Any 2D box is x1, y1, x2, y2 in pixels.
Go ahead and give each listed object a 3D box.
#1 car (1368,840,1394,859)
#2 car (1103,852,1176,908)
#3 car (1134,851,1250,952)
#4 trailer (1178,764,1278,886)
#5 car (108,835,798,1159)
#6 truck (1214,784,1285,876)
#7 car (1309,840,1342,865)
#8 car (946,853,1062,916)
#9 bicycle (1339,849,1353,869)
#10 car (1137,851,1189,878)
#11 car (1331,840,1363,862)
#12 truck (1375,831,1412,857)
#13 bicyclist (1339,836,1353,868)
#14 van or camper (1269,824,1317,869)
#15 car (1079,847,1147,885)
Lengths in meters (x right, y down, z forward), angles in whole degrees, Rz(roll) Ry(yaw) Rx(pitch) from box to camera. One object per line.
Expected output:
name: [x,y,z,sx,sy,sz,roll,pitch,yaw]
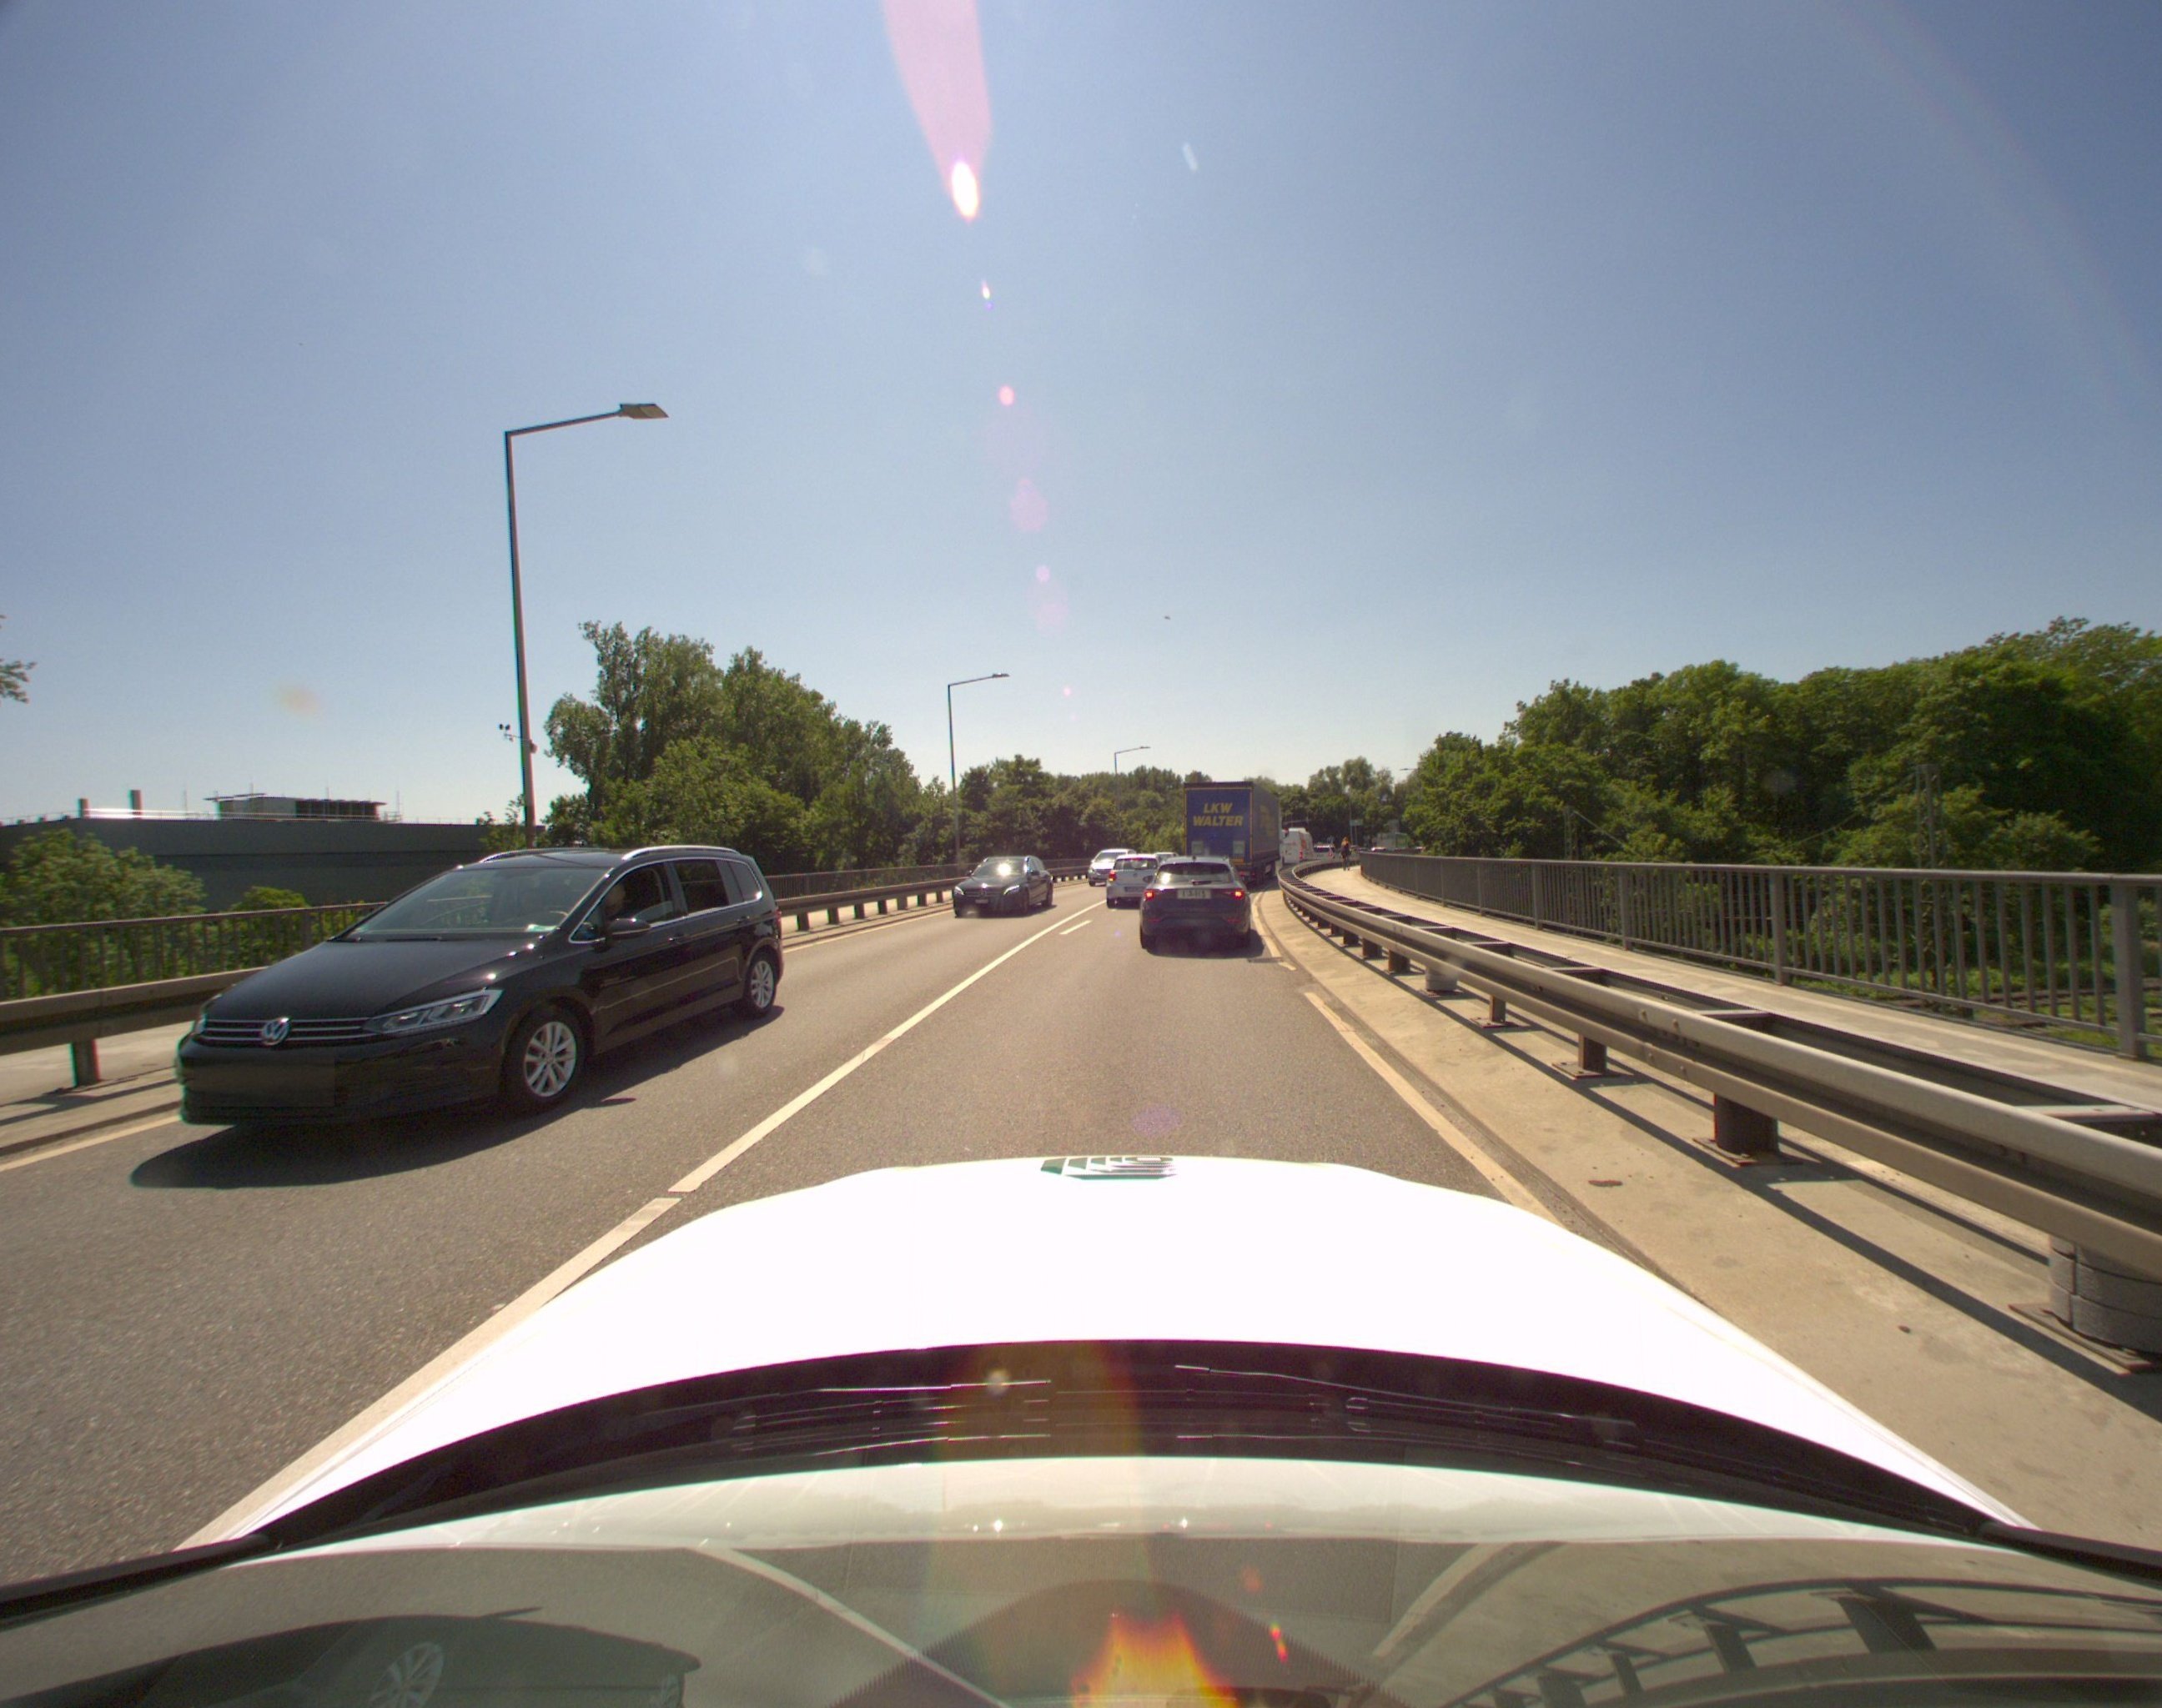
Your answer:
car: [30.253,-0.487,82.131,1.704,1.844,4.025,-1,1,32]
car: [1.774,0.685,23.563,1.666,1.411,3.987,0,1,10]
car: [1.938,0.692,13.893,1.667,1.456,3.969,-1,0,9]
trailer: [6.828,-1.116,35.912,2.882,4.418,12.489,0,1,17]
car: [-3.956,0.731,6.265,1.764,1.625,4.259,-1,0,4]
truck: [8.983,-1.200,42.863,2.881,4.418,6.586,0,0,18]
car: [18.632,-0.154,62.013,1.705,1.843,4.024,-1,1,27]
car: [-1.895,0.734,21.599,1.760,1.438,4.407,-1,0,12]
bicycle: [14.431,0.287,44.370,0.577,1.035,1.493,-4,-1,22]
car: [4.630,0.554,45.276,1.682,1.376,4.023,-1,0,24]
car: [22.547,-0.259,68.885,1.704,1.802,4.025,-1,1,31]
truck: [36.760,-1.196,95.669,2.312,2.873,5.979,-1,0,38]
bicyclist: [14.411,-0.120,44.293,0.573,1.683,0.733,-4,-1,22]
van or camper: [14.100,-0.488,53.839,2.135,2.815,6.422,-1,0,23]
car: [1.505,0.520,36.421,1.722,1.580,4.198,-1,0,21]
